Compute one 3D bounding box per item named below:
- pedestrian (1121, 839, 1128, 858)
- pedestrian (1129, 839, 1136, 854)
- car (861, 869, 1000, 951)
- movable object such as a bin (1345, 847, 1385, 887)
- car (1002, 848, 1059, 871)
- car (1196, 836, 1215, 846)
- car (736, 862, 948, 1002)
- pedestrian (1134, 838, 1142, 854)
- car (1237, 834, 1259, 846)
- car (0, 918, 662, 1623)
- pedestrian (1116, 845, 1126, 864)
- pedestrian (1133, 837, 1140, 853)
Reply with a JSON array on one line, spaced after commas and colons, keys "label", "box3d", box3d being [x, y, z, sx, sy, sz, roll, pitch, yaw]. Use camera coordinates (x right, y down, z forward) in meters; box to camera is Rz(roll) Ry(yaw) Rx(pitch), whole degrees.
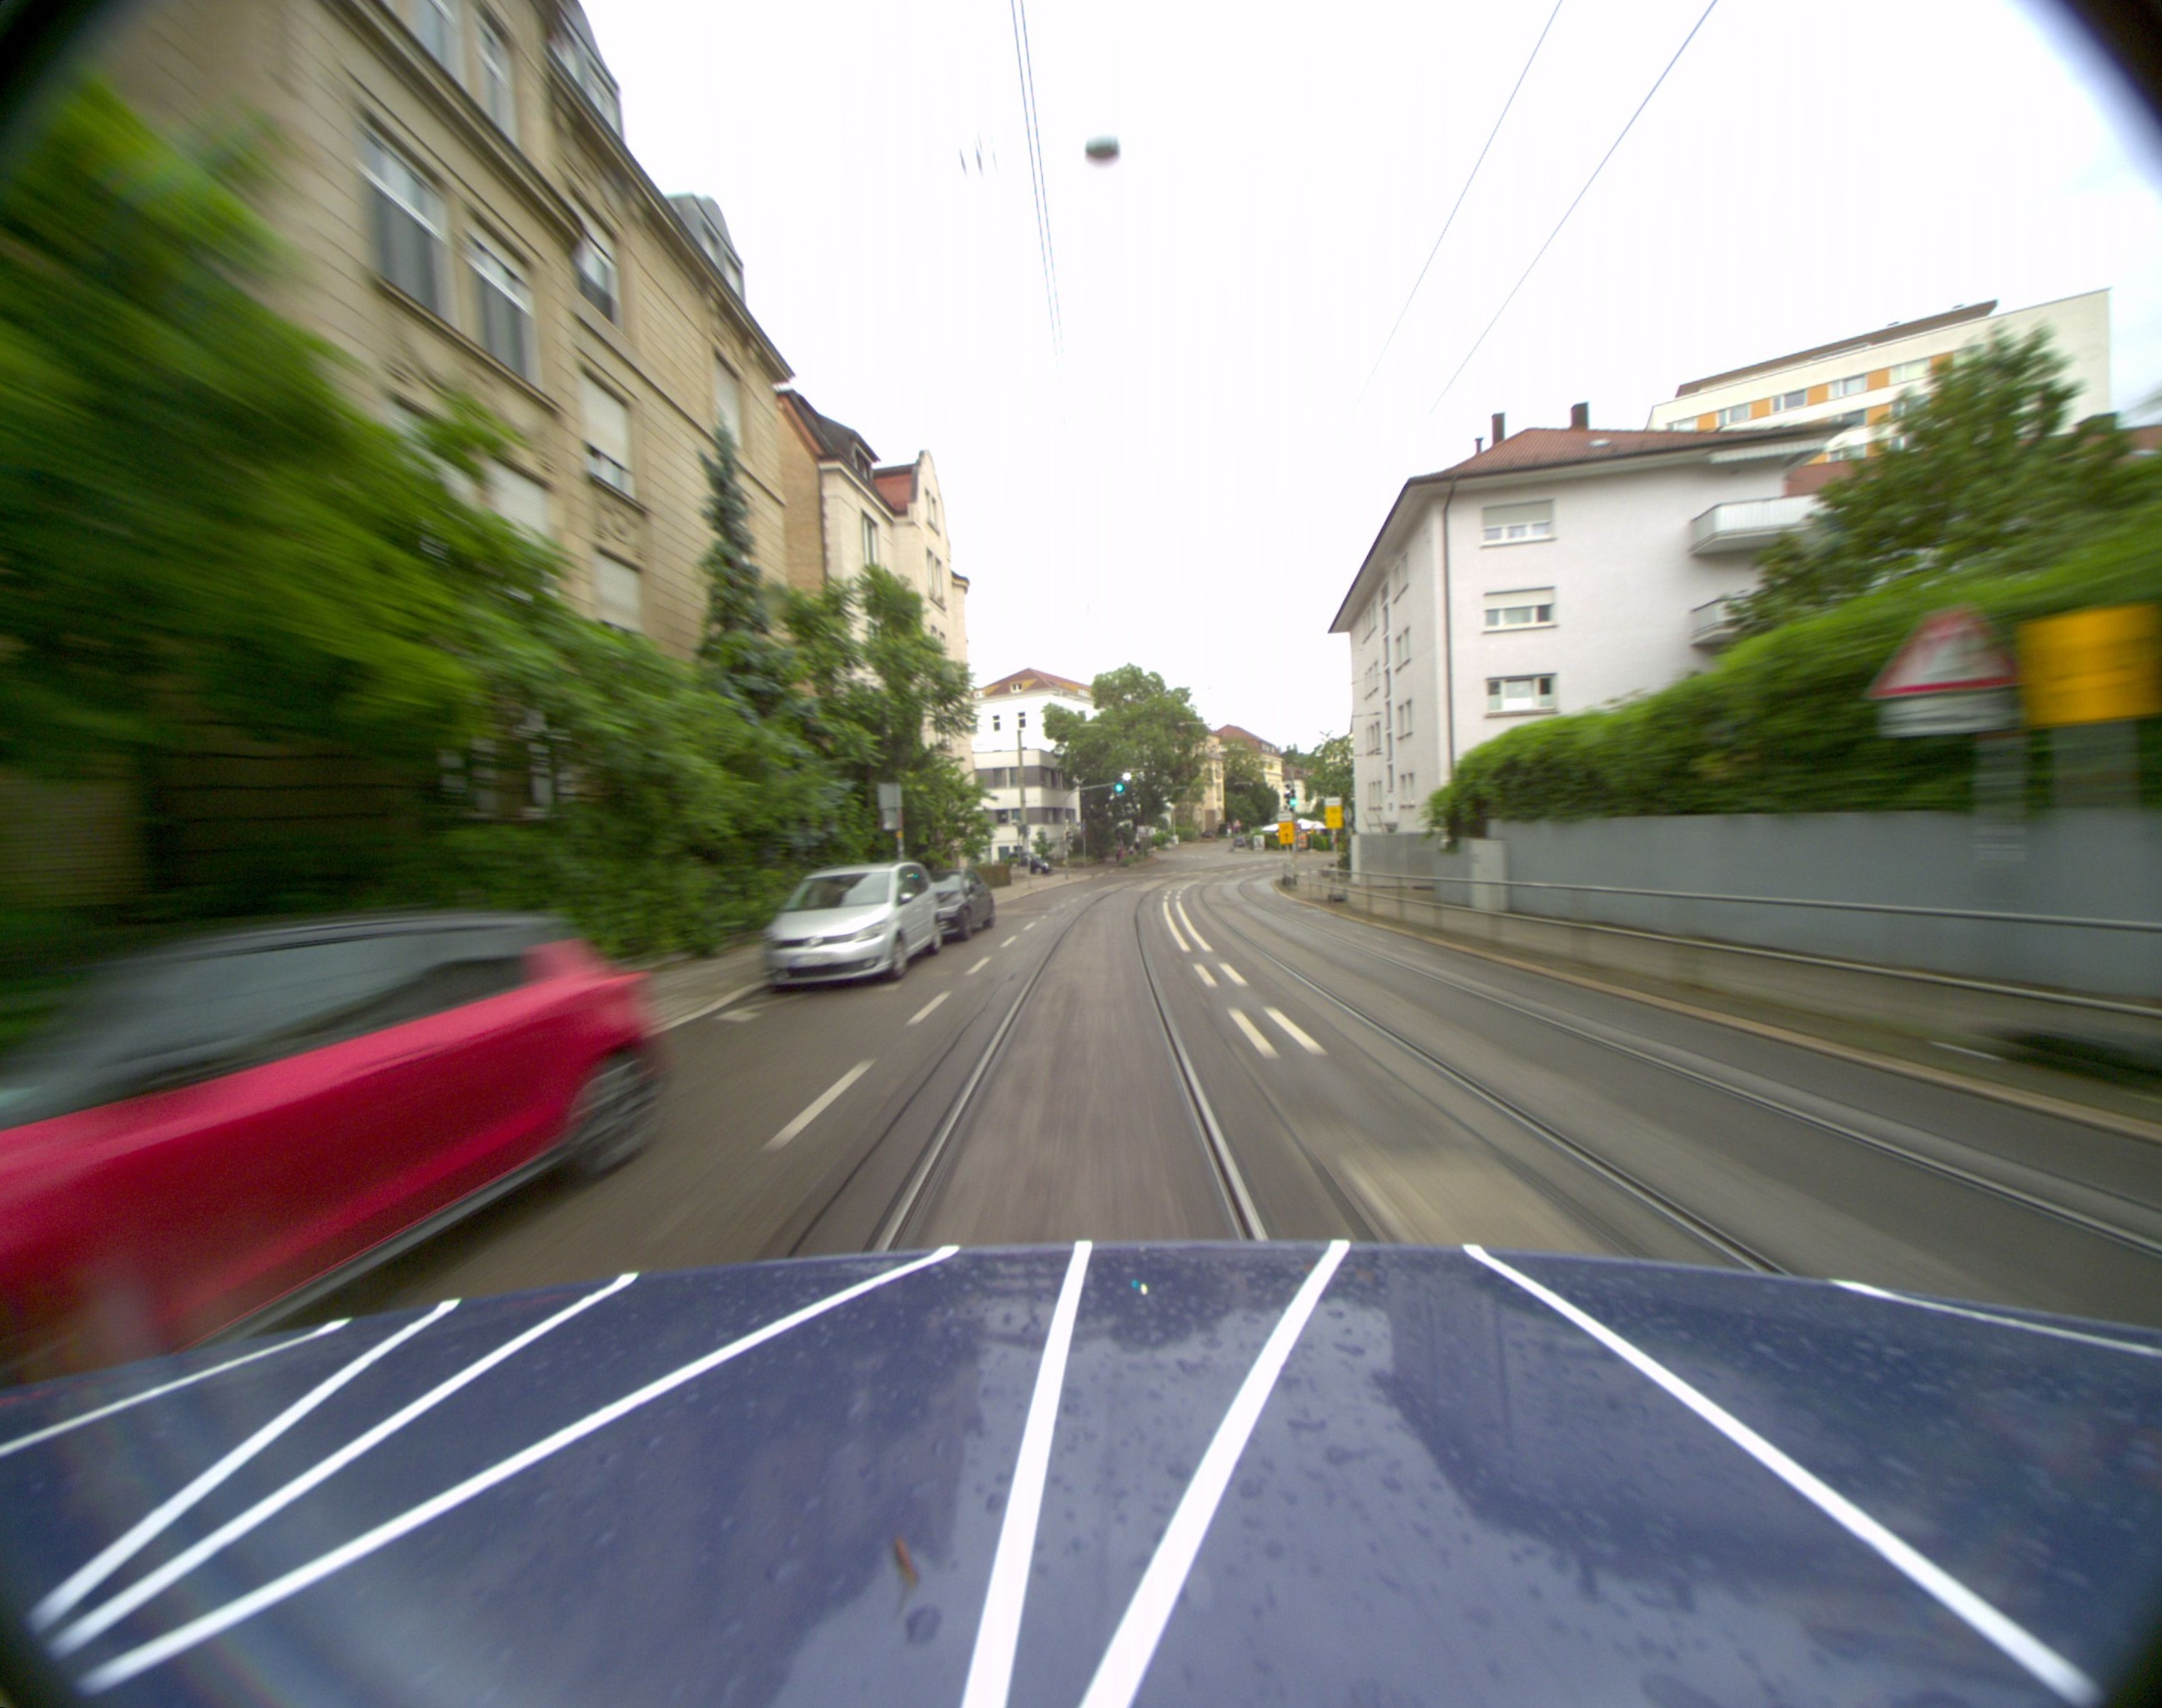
[{"label": "pedestrian", "box3d": [4.385, -0.581, 77.095, 0.542, 1.913, 0.917, -1, 3, 10]}, {"label": "pedestrian", "box3d": [5.272, -0.753, 77.558, 0.386, 1.498, 0.537, -3, 4, -41]}, {"label": "car", "box3d": [-2.998, 1.076, 15.989, 1.770, 1.382, 4.002, -4, -1, 4]}, {"label": "movable object such as a bin", "box3d": [10.590, 0.497, 28.359, 1.187, 1.453, 1.291, -1, 0, 11]}, {"label": "car", "box3d": [-3.537, 0.385, 53.356, 3.663, 1.500, 1.739, 1, 2, 14]}, {"label": "car", "box3d": [18.754, -1.994, 114.585, 1.596, 1.333, 3.642, -1, -1, 30]}, {"label": "car", "box3d": [-3.311, 0.979, 11.466, 1.770, 1.594, 4.288, -2, 1, 0]}, {"label": "pedestrian", "box3d": [5.874, -0.808, 77.962, 0.547, 1.556, 0.600, 0, -1, -44]}, {"label": "car", "box3d": [21.128, -1.774, 96.133, 1.689, 1.434, 3.810, 0, 2, 28]}, {"label": "car", "box3d": [-3.409, 1.142, 2.491, 1.726, 1.428, 3.841, -4, 0, 3]}, {"label": "pedestrian", "box3d": [3.674, 0.014, 69.357, 0.743, 1.690, 0.674, 2, 0, 17]}, {"label": "pedestrian", "box3d": [5.912, -0.934, 80.515, 0.544, 1.620, 0.603, -1, -1, 23]}]
